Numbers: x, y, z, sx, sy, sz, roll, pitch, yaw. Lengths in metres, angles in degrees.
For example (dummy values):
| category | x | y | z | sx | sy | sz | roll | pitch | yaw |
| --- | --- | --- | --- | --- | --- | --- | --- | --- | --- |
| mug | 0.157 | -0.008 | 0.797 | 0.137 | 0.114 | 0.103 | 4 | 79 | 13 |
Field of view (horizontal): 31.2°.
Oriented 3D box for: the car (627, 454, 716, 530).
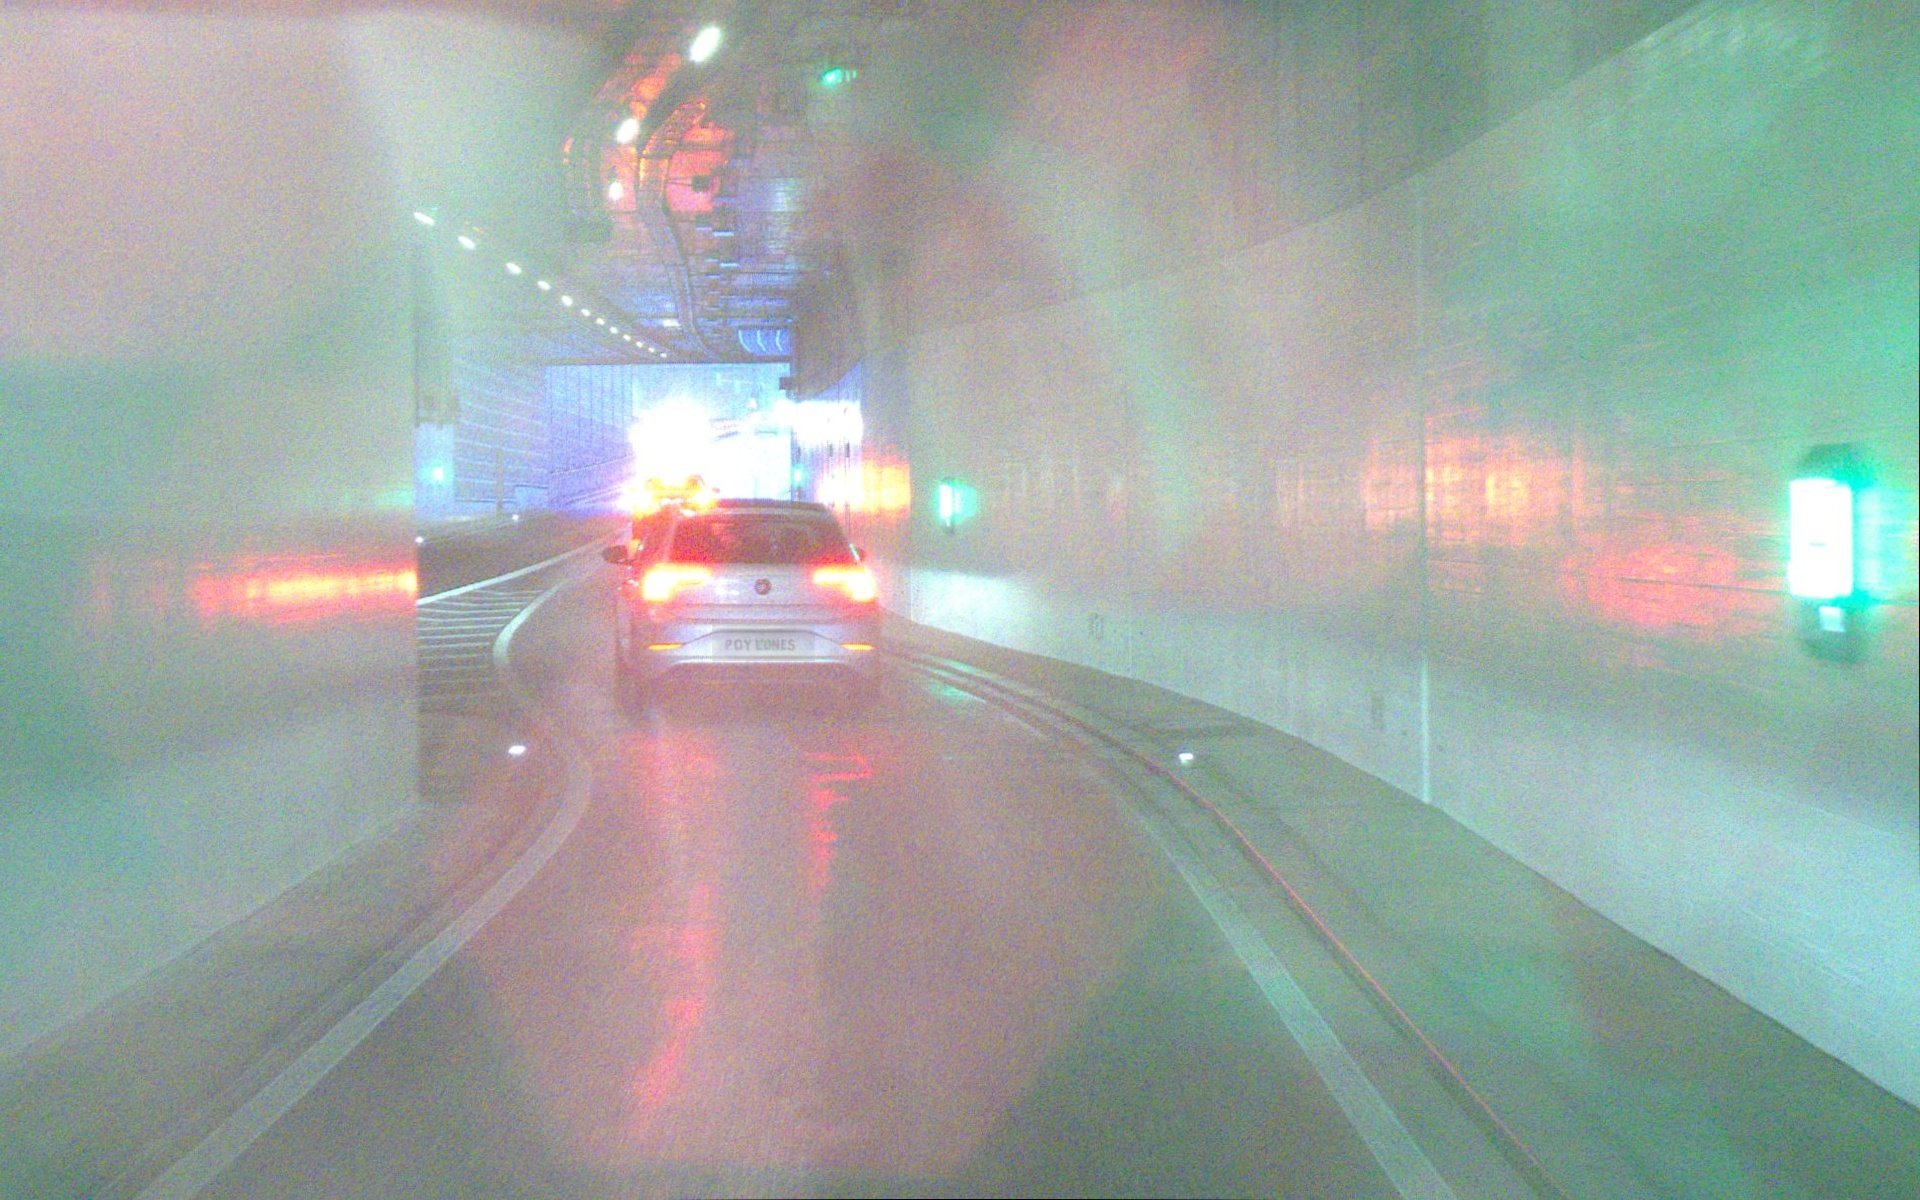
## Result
| category | x | y | z | sx | sy | sz | roll | pitch | yaw |
| --- | --- | --- | --- | --- | --- | --- | --- | --- | --- |
| car | -6.558 | -2.426 | 77.804 | 1.880 | 1.615 | 4.001 | 1 | 1 | -6 |

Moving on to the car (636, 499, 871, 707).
| category | x | y | z | sx | sy | sz | roll | pitch | yaw |
| --- | --- | --- | --- | --- | --- | --- | --- | --- | --- |
| car | -1.555 | -0.028 | 24.910 | 1.531 | 1.392 | 3.435 | 0 | 2 | -6 |
